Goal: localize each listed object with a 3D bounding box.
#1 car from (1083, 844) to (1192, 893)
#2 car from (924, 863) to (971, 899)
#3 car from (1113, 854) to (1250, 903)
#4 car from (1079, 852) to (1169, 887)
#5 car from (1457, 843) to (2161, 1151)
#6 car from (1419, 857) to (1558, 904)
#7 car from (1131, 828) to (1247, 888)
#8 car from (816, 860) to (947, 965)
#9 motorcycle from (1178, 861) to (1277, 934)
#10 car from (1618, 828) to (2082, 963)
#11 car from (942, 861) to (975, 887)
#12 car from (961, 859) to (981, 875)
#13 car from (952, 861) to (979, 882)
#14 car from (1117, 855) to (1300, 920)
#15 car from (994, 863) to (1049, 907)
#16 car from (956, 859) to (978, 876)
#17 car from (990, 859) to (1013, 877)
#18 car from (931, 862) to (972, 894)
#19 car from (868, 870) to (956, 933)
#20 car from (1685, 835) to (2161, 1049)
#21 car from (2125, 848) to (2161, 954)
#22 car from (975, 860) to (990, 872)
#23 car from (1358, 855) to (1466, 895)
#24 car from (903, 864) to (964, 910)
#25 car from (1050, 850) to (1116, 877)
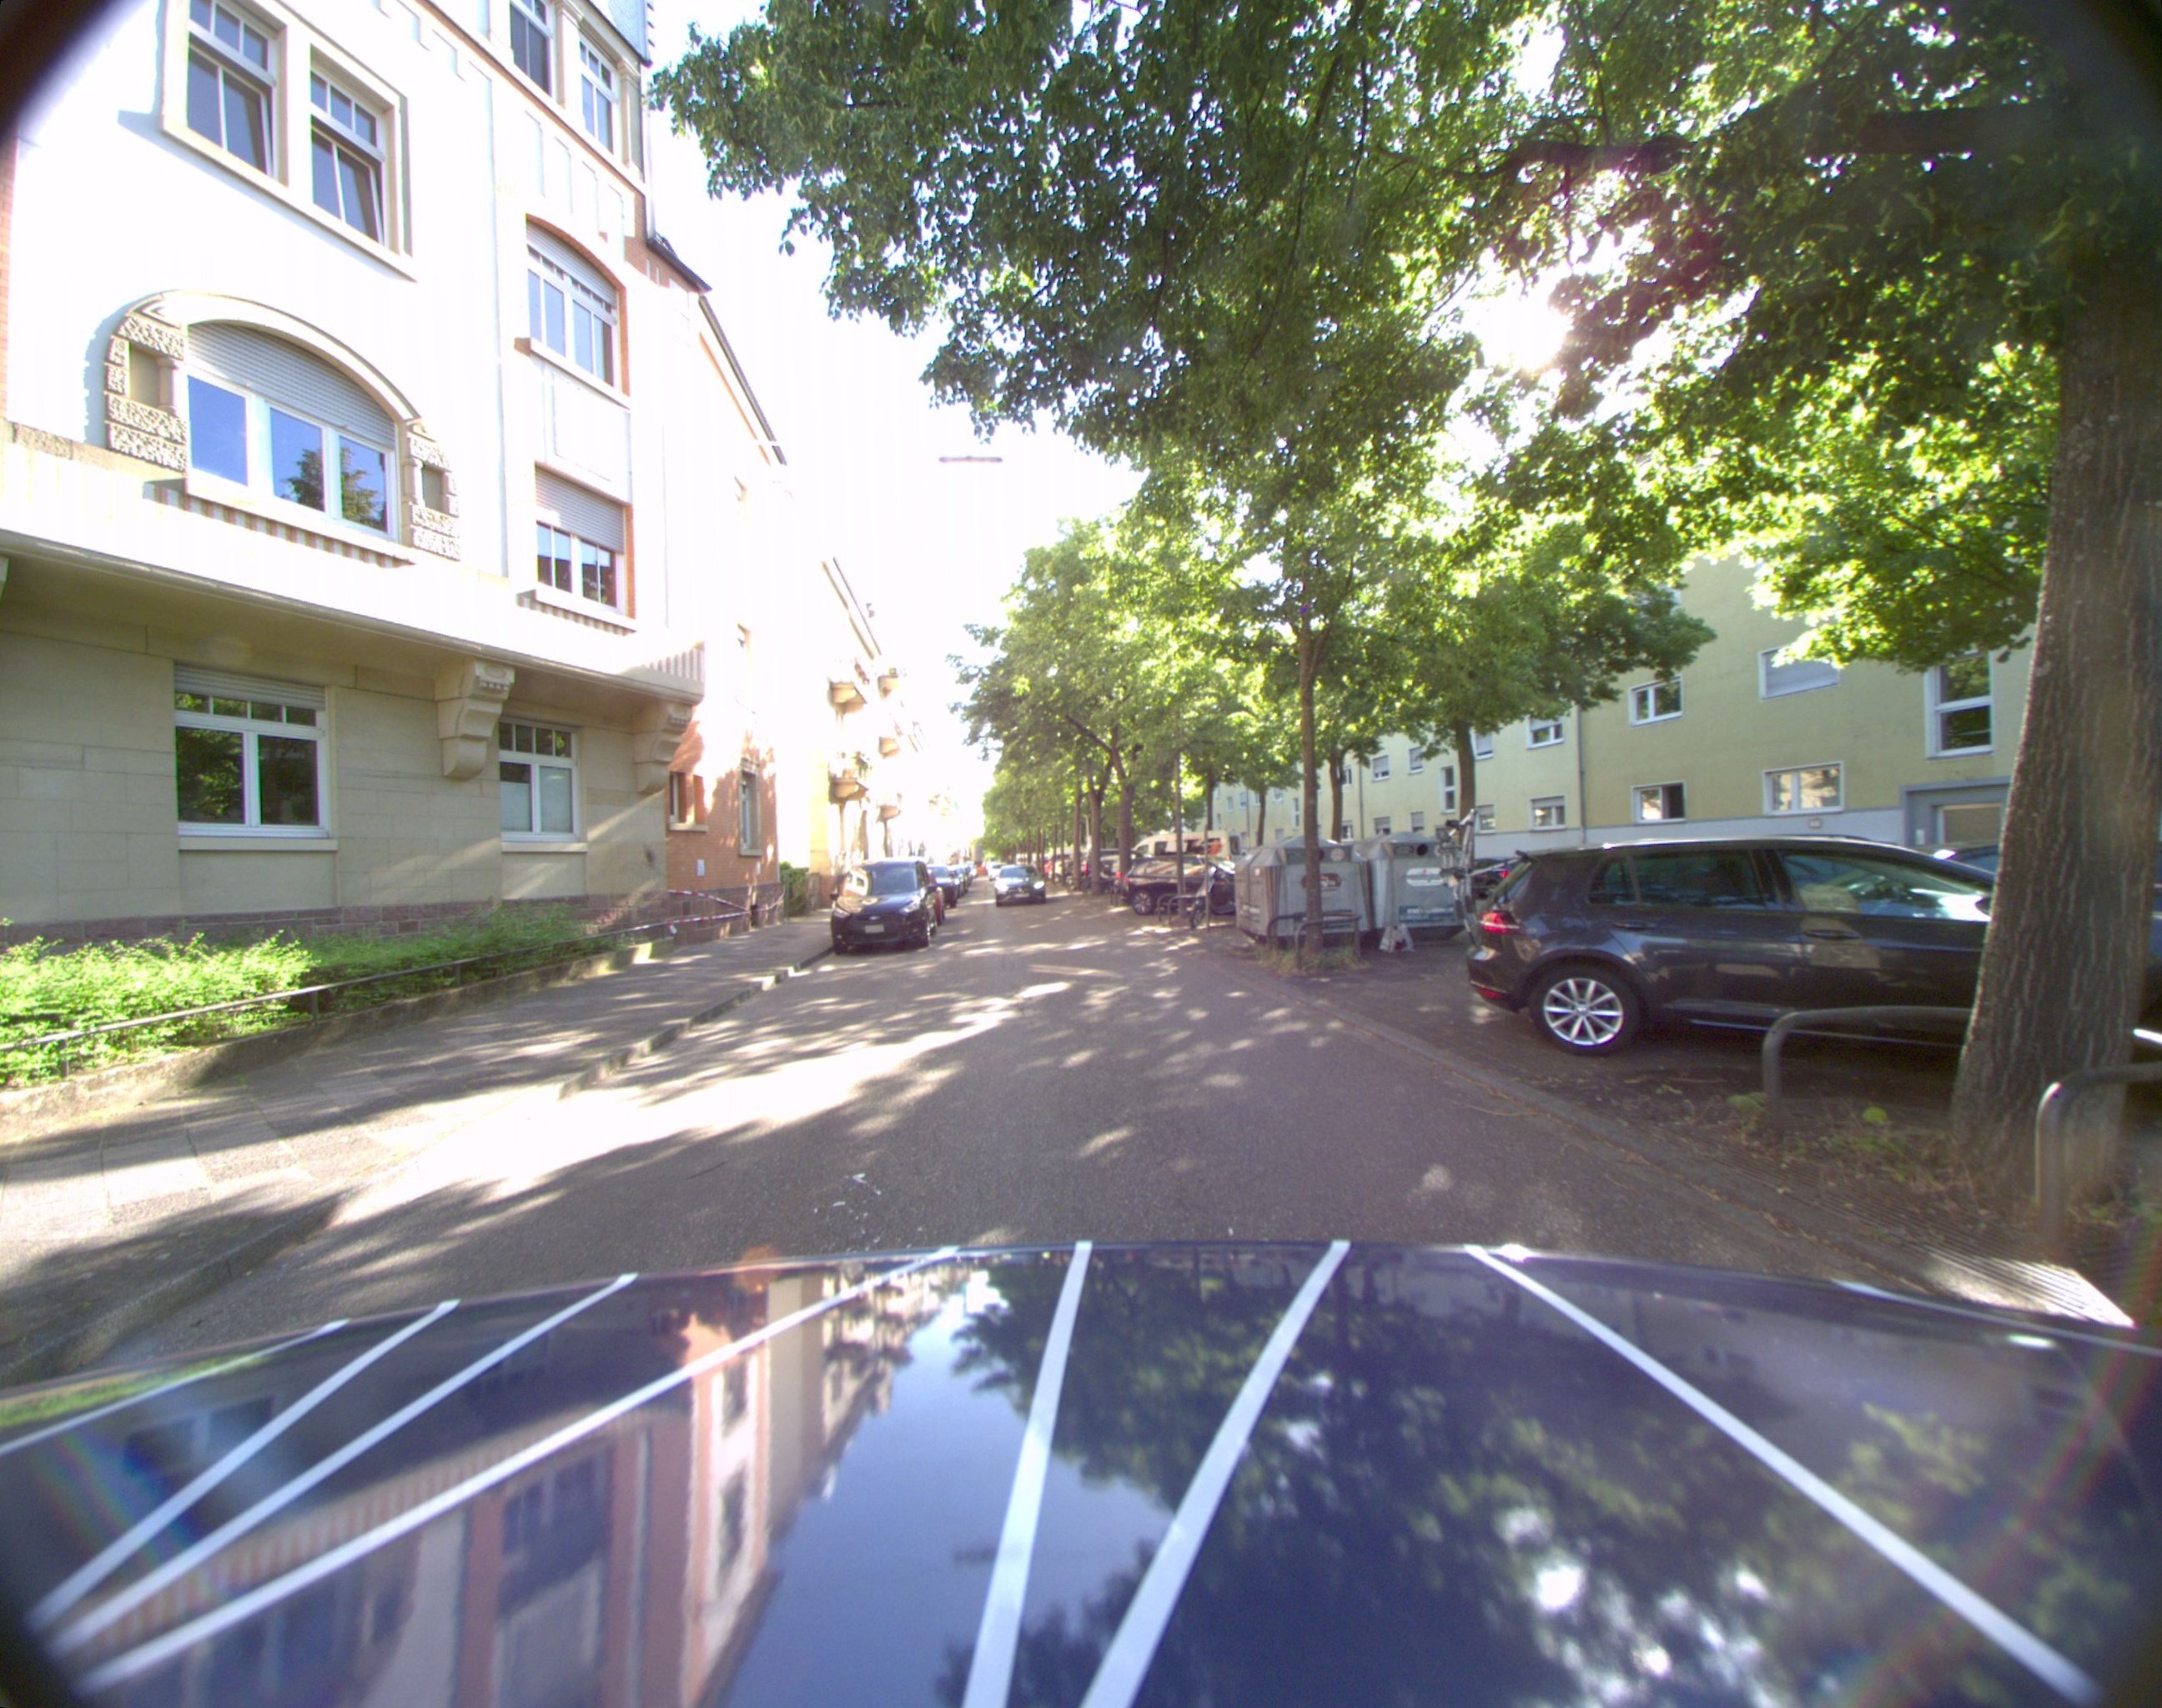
[{"bbox_3d":[2.282,0.609,31.060,3.989,1.887,1.827,-2,0,31],"label":"car"},{"bbox_3d":[-6.483,1.271,37.216,1.797,1.547,4.207,-4,0,-5],"label":"car"},{"bbox_3d":[3.233,0.793,24.676,3.989,1.444,1.827,-2,0,31],"label":"car"},{"bbox_3d":[2.105,0.784,37.596,3.989,1.624,1.827,-2,0,31],"label":"car"},{"bbox_3d":[4.786,0.708,4.930,3.989,1.464,1.763,-2,0,33],"label":"car"},{"bbox_3d":[13.726,0.850,25.948,2.043,1.430,4.385,-1,0,-7],"label":"car"},{"bbox_3d":[4.747,0.198,33.449,4.583,2.476,1.990,-2,0,27],"label":"car"},{"bbox_3d":[-3.933,1.056,15.683,1.797,1.756,4.207,-4,0,-5],"label":"car"},{"bbox_3d":[2.907,0.831,15.065,1.802,1.340,0.727,-1,0,-25],"label":"motorcycle"},{"bbox_3d":[9.393,0.484,9.559,3.997,1.464,1.760,-1,0,1],"label":"car"},{"bbox_3d":[-8.279,1.319,51.651,1.797,1.547,4.207,-4,0,-5],"label":"car"},{"bbox_3d":[-11.816,1.379,81.591,1.797,1.547,4.207,-4,0,-5],"label":"car"},{"bbox_3d":[-9.360,1.398,61.687,1.797,1.547,4.207,-4,0,-5],"label":"car"},{"bbox_3d":[3.089,0.783,18.559,3.989,1.432,1.827,-2,0,31],"label":"car"},{"bbox_3d":[-2.221,1.082,28.219,1.798,1.426,4.207,-3,0,-5],"label":"car"},{"bbox_3d":[-11.476,1.318,76.619,1.797,1.547,4.207,-4,0,-5],"label":"car"},{"bbox_3d":[-6.879,1.211,66.127,1.798,1.426,4.207,-2,0,-5],"label":"car"},{"bbox_3d":[-7.126,1.293,42.174,1.797,1.547,4.207,-4,0,-5],"label":"car"},{"bbox_3d":[-4.659,1.256,21.545,1.797,1.445,4.207,-4,0,-5],"label":"car"},{"bbox_3d":[7.543,0.604,6.132,3.989,1.464,1.763,-2,0,32],"label":"car"},{"bbox_3d":[15.743,0.604,8.559,1.735,1.430,4.385,-1,0,-7],"label":"car"},{"bbox_3d":[-13.696,1.615,106.082,1.797,1.547,4.207,-4,0,-5],"label":"car"},{"bbox_3d":[13.195,0.808,30.632,2.043,1.430,4.385,-1,0,-7],"label":"car"},{"bbox_3d":[-5.618,1.221,29.455,1.797,1.547,4.207,-4,0,-5],"label":"car"},{"bbox_3d":[0.134,0.633,50.787,3.992,1.677,1.826,-1,0,18],"label":"car"}]
